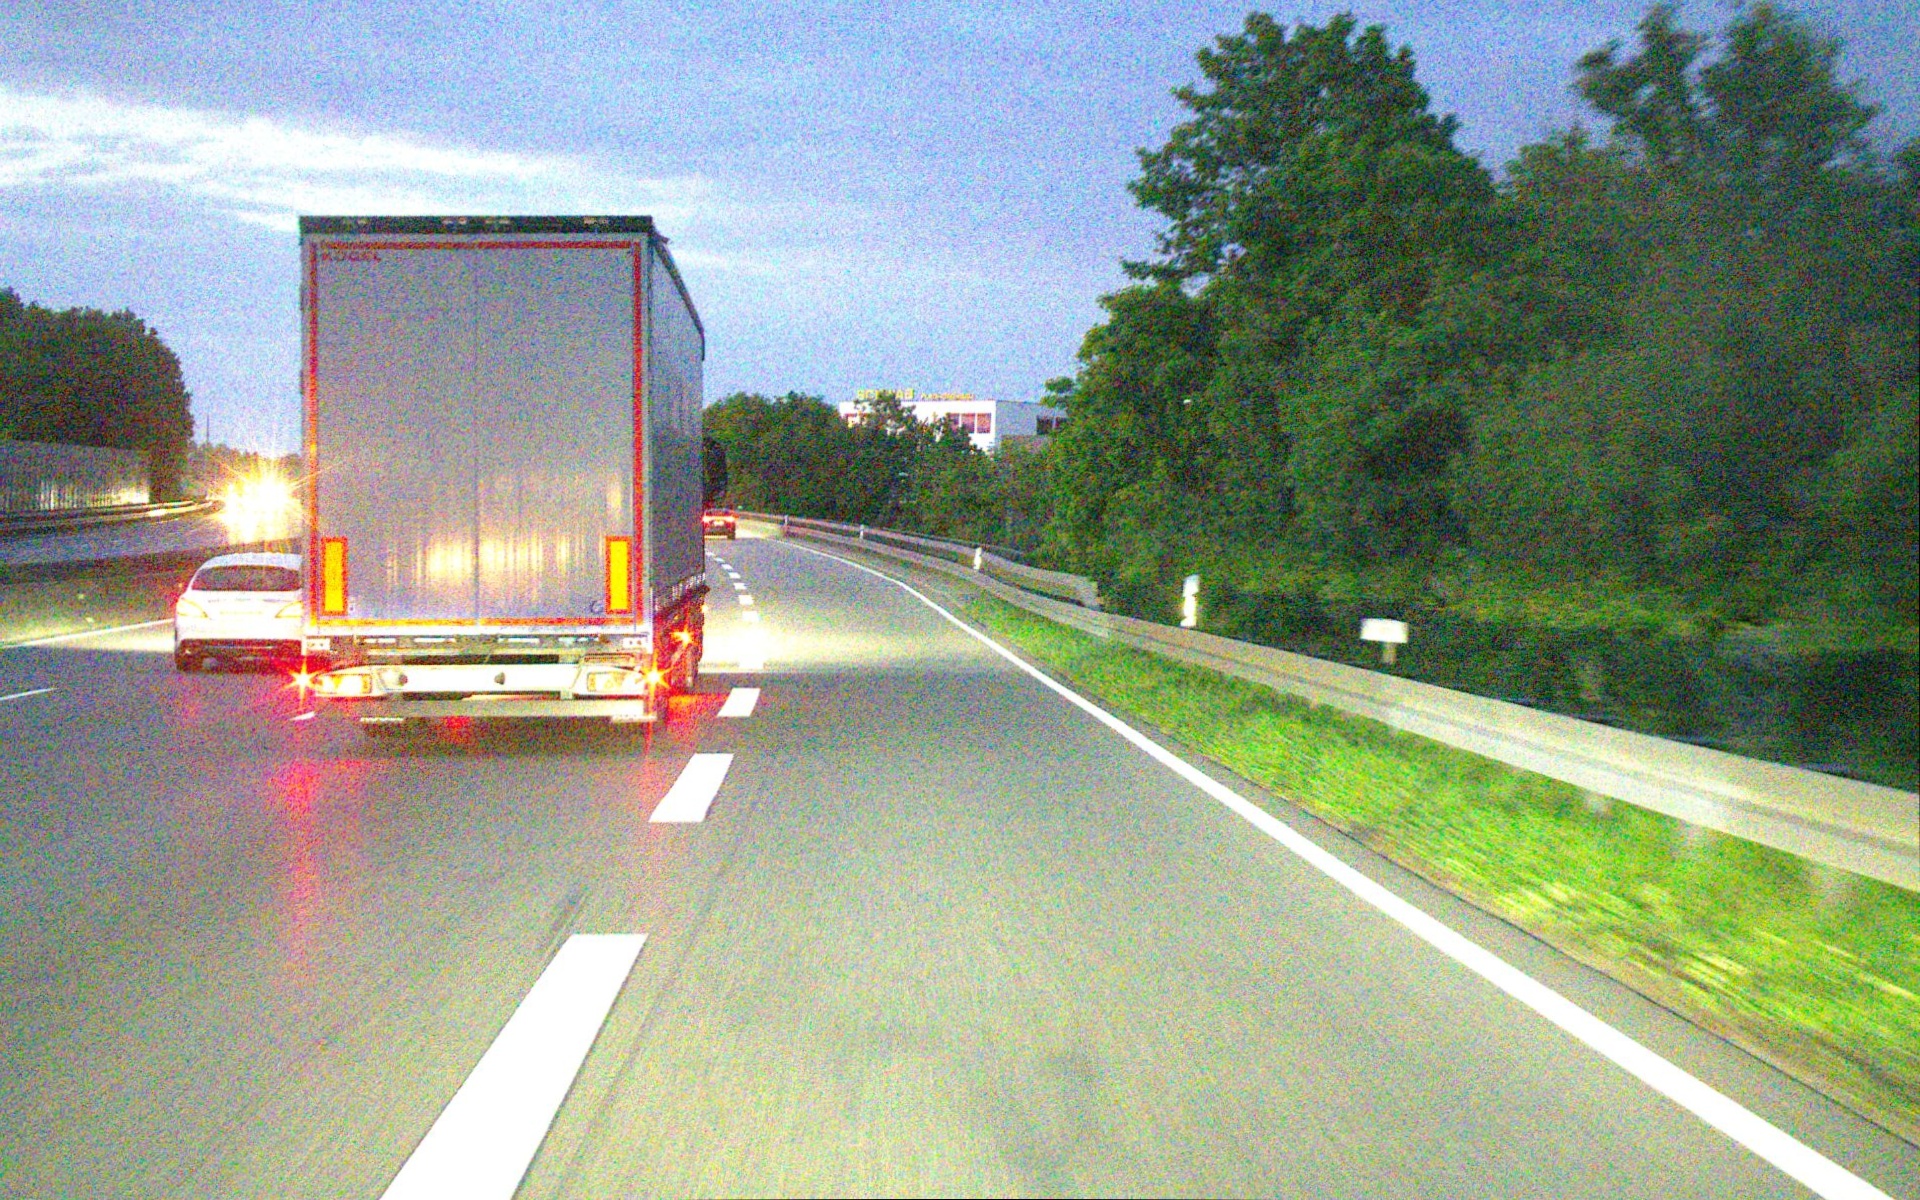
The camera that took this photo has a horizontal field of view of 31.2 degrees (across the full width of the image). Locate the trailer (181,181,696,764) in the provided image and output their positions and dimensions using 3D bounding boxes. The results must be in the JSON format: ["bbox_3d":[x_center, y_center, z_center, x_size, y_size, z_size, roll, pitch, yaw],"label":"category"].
[{"bbox_3d":[-4.250,-0.987,31.807,3.549,4.102,15.065,0,1,-4],"label":"trailer"}]

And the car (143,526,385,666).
[{"bbox_3d":[-8.614,-0.006,42.961,1.906,1.609,4.803,1,-1,1],"label":"car"}]

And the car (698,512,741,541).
[{"bbox_3d":[-12.645,-3.852,180.729,1.993,1.349,4.001,1,-1,-7],"label":"car"}]

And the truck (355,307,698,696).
[{"bbox_3d":[-4.784,-1.075,39.220,3.550,4.077,6.152,0,1,-4],"label":"truck"}]
